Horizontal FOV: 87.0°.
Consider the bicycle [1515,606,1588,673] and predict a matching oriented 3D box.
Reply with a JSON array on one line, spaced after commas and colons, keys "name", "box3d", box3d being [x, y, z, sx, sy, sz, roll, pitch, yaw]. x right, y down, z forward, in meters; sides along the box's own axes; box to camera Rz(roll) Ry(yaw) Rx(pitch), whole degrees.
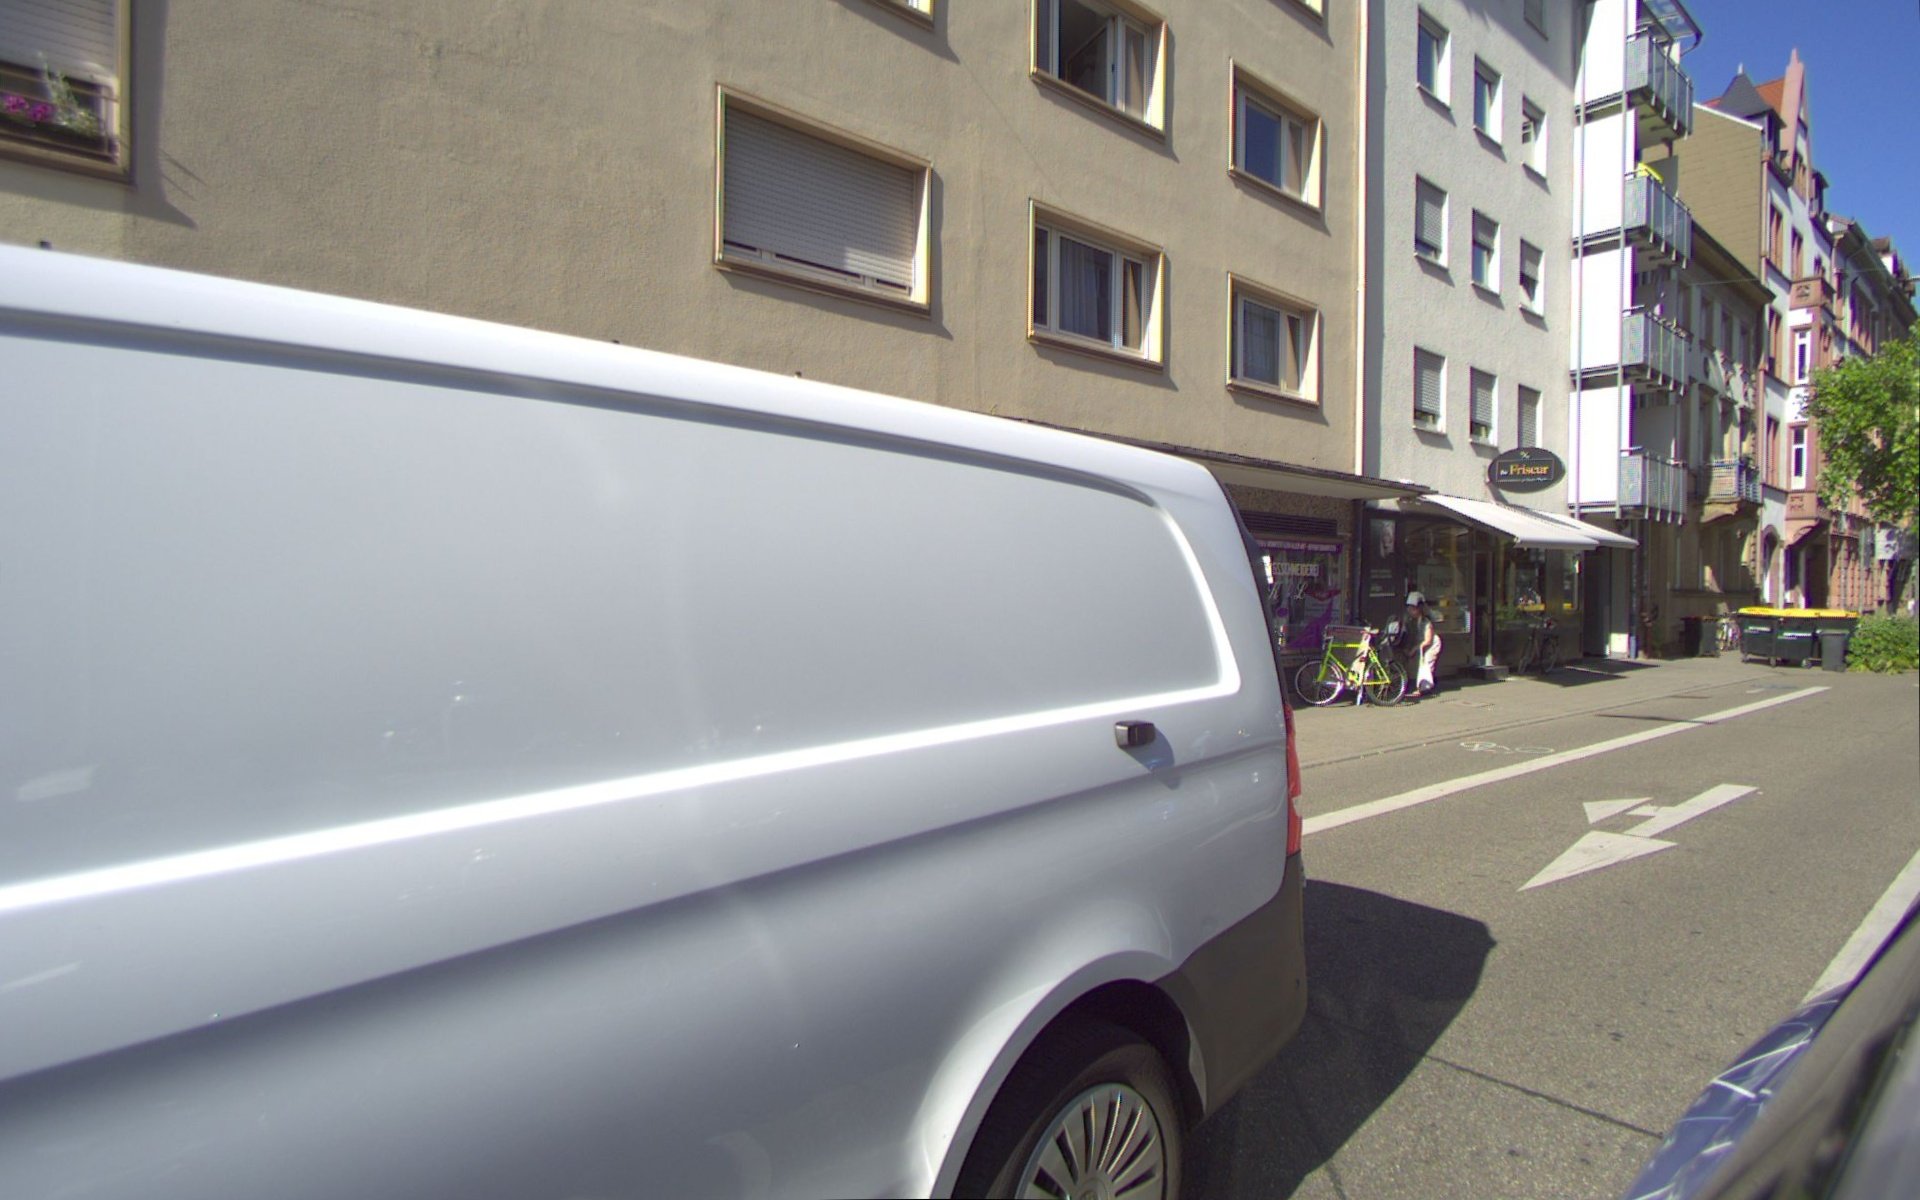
[{"name": "bicycle", "box3d": [11.159, 0.722, 19.060, 1.743, 1.157, 0.598, 0, 3, -41]}]

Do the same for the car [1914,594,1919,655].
[{"name": "car", "box3d": [27.264, 0.656, 27.485, 3.484, 1.616, 1.626, 0, 1, -41]}]

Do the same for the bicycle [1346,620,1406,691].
[{"name": "bicycle", "box3d": [6.256, 0.813, 15.199, 1.155, 0.995, 0.375, 0, 0, -43]}]

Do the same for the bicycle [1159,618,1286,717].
[{"name": "bicycle", "box3d": [3.204, 0.787, 12.289, 1.766, 1.098, 0.408, 0, 3, -36]}]

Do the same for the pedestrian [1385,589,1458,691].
[{"name": "pedestrian", "box3d": [7.020, 0.591, 15.408, 0.615, 1.459, 0.774, 0, 3, -45]}]

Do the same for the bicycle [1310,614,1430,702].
[{"name": "bicycle", "box3d": [5.647, 0.777, 14.019, 1.475, 1.120, 0.719, 1, 0, 18]}]

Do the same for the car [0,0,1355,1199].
[{"name": "car", "box3d": [-1.516, 0.321, 1.462, 4.750, 1.833, 1.971, -1, 1, -42]}]
